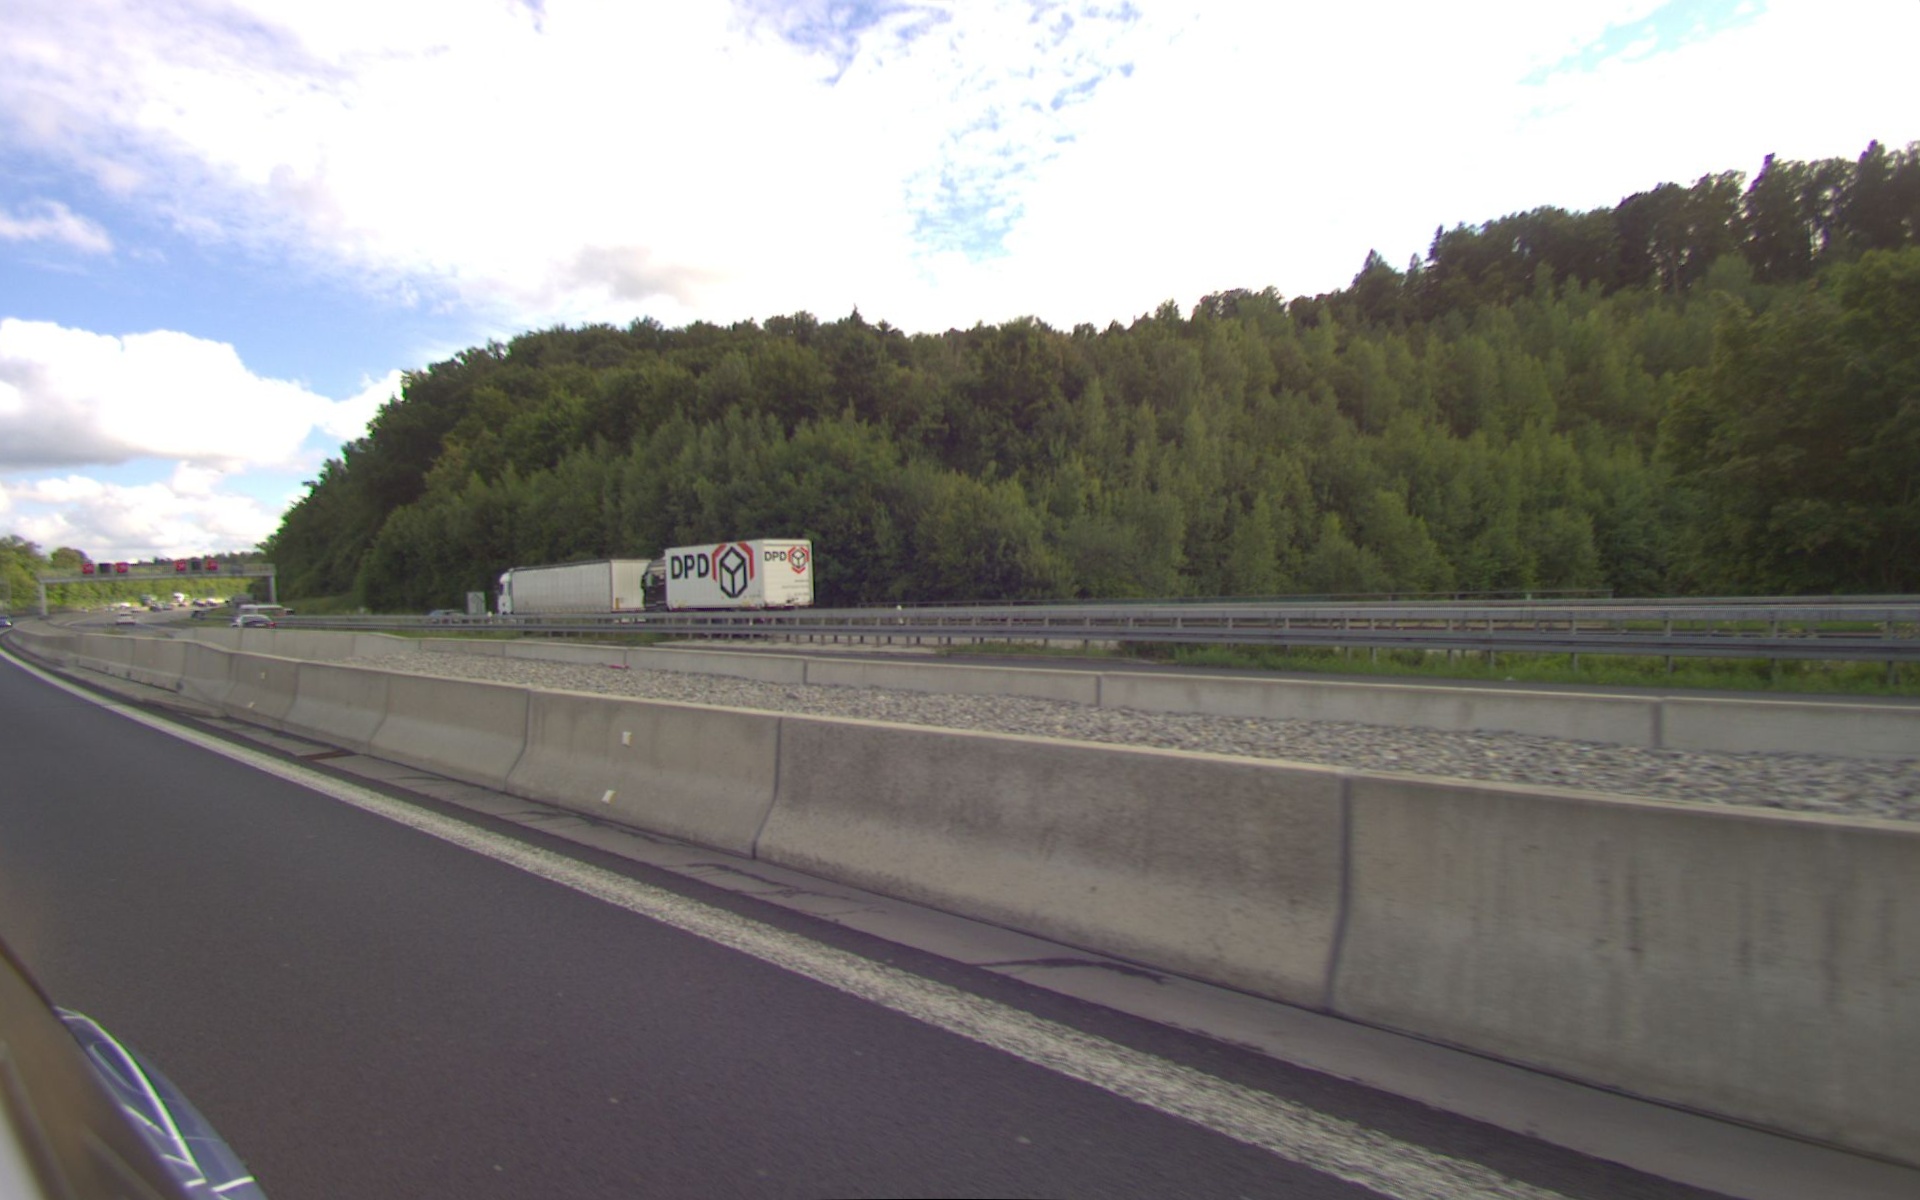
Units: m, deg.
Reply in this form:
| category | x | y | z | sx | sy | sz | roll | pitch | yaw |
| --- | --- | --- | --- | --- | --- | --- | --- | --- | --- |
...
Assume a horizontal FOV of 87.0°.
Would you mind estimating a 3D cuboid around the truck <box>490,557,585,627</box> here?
| category | x | y | z | sx | sy | sz | roll | pitch | yaw |
| --- | --- | --- | --- | --- | --- | --- | --- | --- | --- |
| truck | -27.346 | -0.534 | 65.371 | 6.751 | 4.324 | 3.283 | 1 | 1 | 44 |

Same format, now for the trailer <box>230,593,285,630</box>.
| category | x | y | z | sx | sy | sz | roll | pitch | yaw |
| --- | --- | --- | --- | --- | --- | --- | --- | --- | --- |
| trailer | -76.621 | 1.267 | 110.227 | 2.781 | 3.835 | 12.195 | -2 | 0 | -45 |

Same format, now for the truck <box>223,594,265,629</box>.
| category | x | y | z | sx | sy | sz | roll | pitch | yaw |
| --- | --- | --- | --- | --- | --- | --- | --- | --- | --- |
| truck | -81.613 | 1.344 | 115.316 | 2.777 | 3.855 | 7.134 | -2 | 0 | -44 |

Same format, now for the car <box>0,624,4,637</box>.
| category | x | y | z | sx | sy | sz | roll | pitch | yaw |
| --- | --- | --- | --- | --- | --- | --- | --- | --- | --- |
| car | -118.494 | 3.747 | 123.958 | 1.970 | 1.484 | 4.005 | -1 | 0 | -42 |

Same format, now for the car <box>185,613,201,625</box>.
| category | x | y | z | sx | sy | sz | roll | pitch | yaw |
| --- | --- | --- | --- | --- | --- | --- | --- | --- | --- |
| car | -135.473 | 3.290 | 178.739 | 1.970 | 2.029 | 4.004 | -2 | 0 | -43 |

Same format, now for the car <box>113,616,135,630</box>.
| category | x | y | z | sx | sy | sz | roll | pitch | yaw |
| --- | --- | --- | --- | --- | --- | --- | --- | --- | --- |
| car | -104.874 | 2.872 | 126.939 | 1.693 | 1.539 | 4.769 | -1 | 1 | -45 |

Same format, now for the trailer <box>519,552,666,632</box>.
| category | x | y | z | sx | sy | sz | roll | pitch | yaw |
| --- | --- | --- | --- | --- | --- | --- | --- | --- | --- |
| trailer | -22.079 | -0.495 | 60.191 | 12.145 | 4.324 | 3.284 | 1 | 1 | 44 |

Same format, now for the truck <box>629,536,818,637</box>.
| category | x | y | z | sx | sy | sz | roll | pitch | yaw |
| --- | --- | --- | --- | --- | --- | --- | --- | --- | --- |
| truck | -10.702 | -0.588 | 44.801 | 10.466 | 3.998 | 2.870 | 1 | 1 | 43 |

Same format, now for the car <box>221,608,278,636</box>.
| category | x | y | z | sx | sy | sz | roll | pitch | yaw |
| --- | --- | --- | --- | --- | --- | --- | --- | --- | --- |
| car | -42.444 | 1.281 | 60.427 | 5.124 | 1.458 | 1.854 | 1 | 1 | 44 |
